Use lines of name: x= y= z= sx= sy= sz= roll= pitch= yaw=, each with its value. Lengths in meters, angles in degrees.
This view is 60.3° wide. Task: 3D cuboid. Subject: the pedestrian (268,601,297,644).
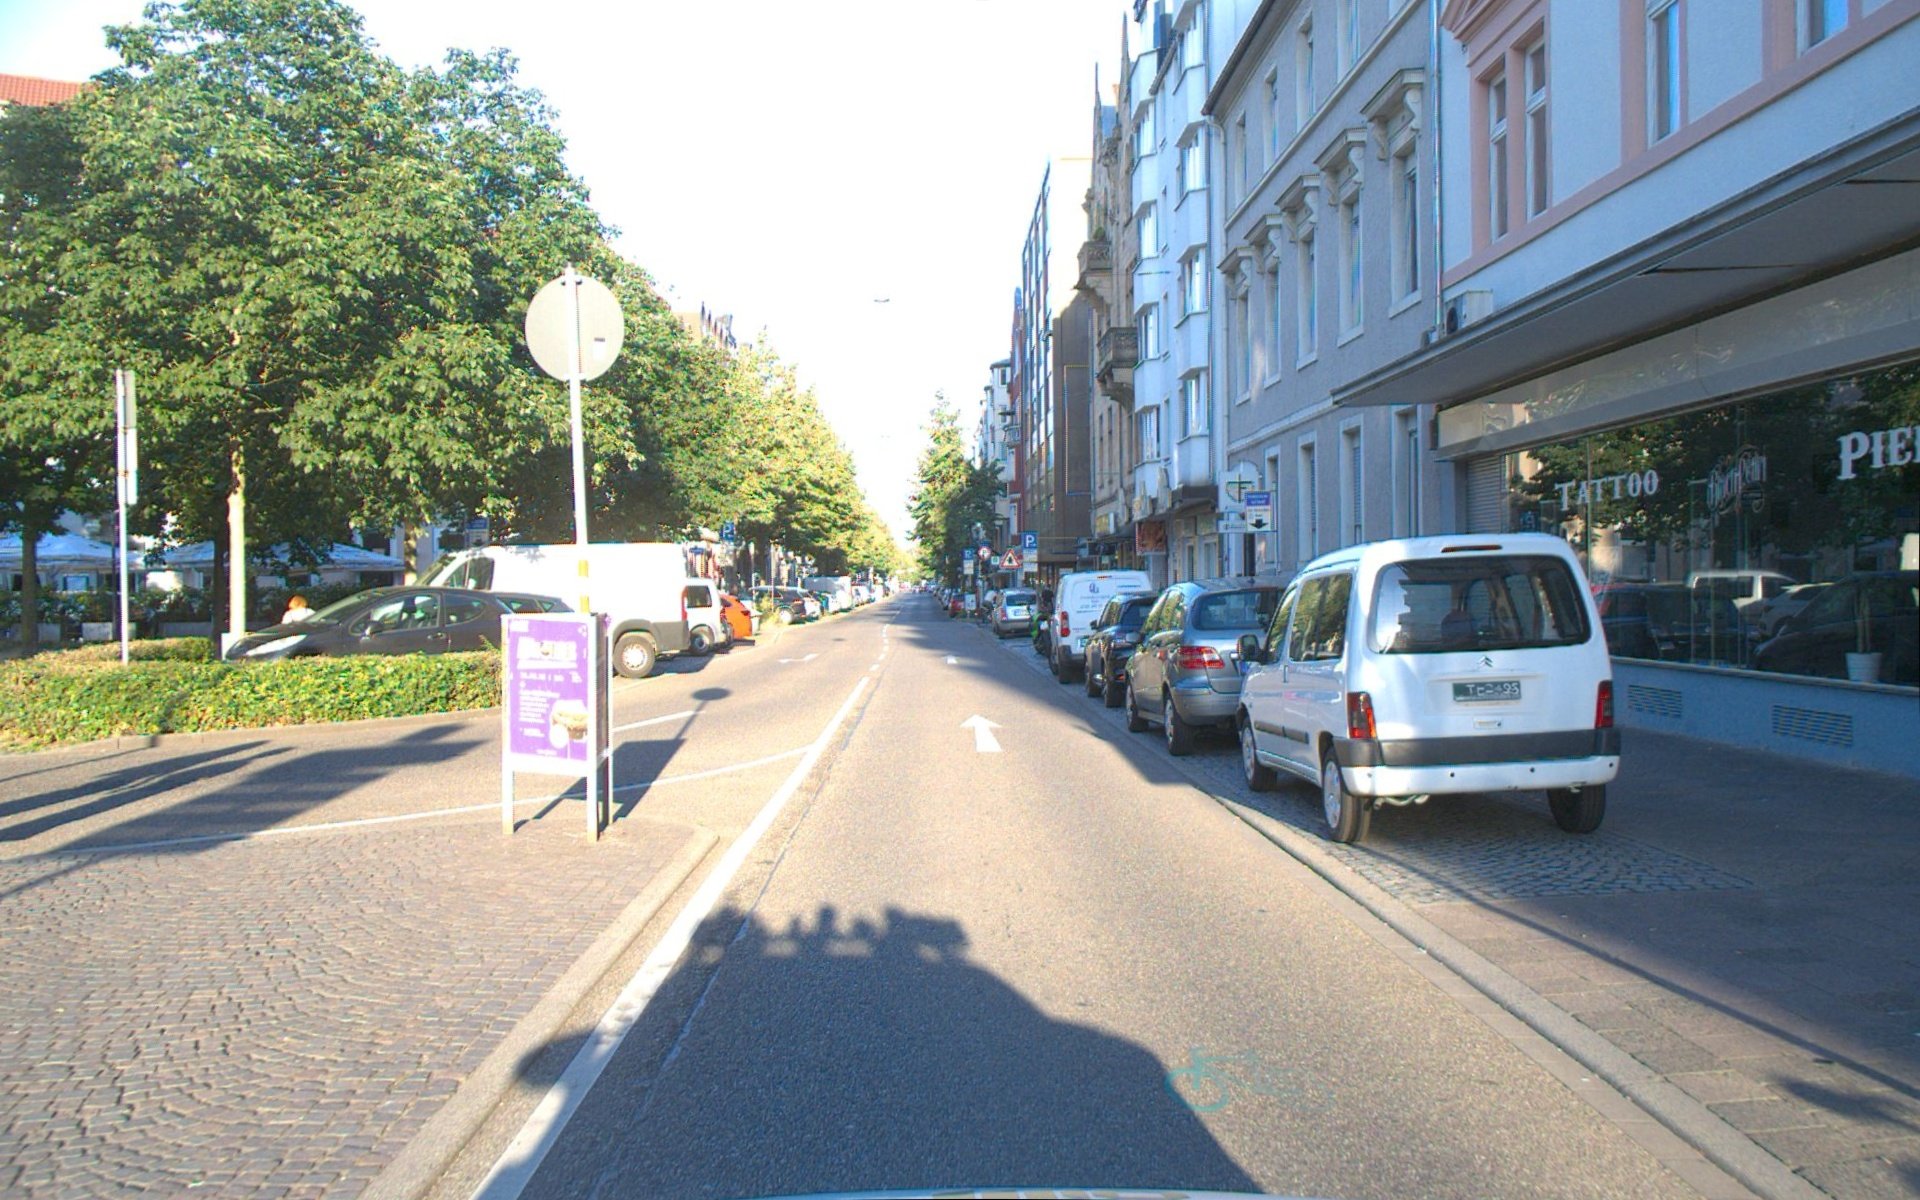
pedestrian: x=-19.328 y=0.642 z=47.199 sx=0.567 sy=1.192 sz=0.535 roll=1 pitch=0 yaw=6

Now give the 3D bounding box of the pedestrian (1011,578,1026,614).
pedestrian: x=3.119 y=-0.215 z=87.839 sx=0.700 sy=1.898 sz=0.679 roll=-1 pitch=1 yaw=-4

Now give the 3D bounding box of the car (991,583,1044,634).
car: x=1.912 y=0.256 z=55.657 sx=1.646 sy=1.588 sz=4.001 roll=-2 pitch=1 yaw=1

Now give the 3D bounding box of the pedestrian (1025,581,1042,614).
pedestrian: x=3.900 y=-0.158 z=87.883 sx=0.750 sy=1.718 sz=0.785 roll=-1 pitch=1 yaw=-4

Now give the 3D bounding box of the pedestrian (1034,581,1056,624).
pedestrian: x=3.337 y=0.074 z=65.024 sx=0.740 sy=1.669 sz=1.258 roll=0 pitch=1 yaw=-2

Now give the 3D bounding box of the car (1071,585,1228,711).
car: x=2.563 y=0.601 z=23.169 sx=1.633 sy=1.571 sz=3.882 roll=0 pitch=1 yaw=-2

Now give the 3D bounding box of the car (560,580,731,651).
car: x=-7.995 y=0.395 z=42.162 sx=3.958 sy=1.725 sz=1.726 roll=1 pitch=0 yaw=-38

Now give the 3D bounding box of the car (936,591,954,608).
car: x=-1.160 y=-0.053 z=128.041 sx=1.182 sy=1.323 sz=2.659 roll=1 pitch=0 yaw=-4

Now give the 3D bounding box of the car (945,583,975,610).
car: x=-0.027 y=-0.185 z=102.431 sx=1.545 sy=1.569 sz=3.394 roll=-2 pitch=0 yaw=-4

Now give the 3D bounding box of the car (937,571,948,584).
car: x=-2.175 y=-2.809 z=205.103 sx=1.283 sy=1.628 sz=2.658 roll=0 pitch=0 yaw=-4

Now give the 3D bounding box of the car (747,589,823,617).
car: x=-9.867 y=0.161 z=93.460 sx=4.091 sy=1.533 sz=1.999 roll=1 pitch=0 yaw=-2

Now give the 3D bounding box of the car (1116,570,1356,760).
car: x=2.679 y=0.562 z=16.914 sx=1.623 sy=1.694 sz=4.106 roll=0 pitch=1 yaw=-2

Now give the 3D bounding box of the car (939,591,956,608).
car: x=-1.024 y=-0.026 z=134.500 sx=1.182 sy=1.323 sz=2.658 roll=0 pitch=0 yaw=-4

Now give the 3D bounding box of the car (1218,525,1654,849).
car: x=3.027 y=0.479 z=11.445 sx=1.756 sy=1.823 sz=4.091 roll=-1 pitch=0 yaw=-1

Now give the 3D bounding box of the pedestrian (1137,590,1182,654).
pedestrian: x=4.833 y=0.525 z=40.183 sx=0.936 sy=1.513 sz=0.992 roll=1 pitch=0 yaw=-2

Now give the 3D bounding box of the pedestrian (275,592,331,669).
pedestrian: x=-11.403 y=0.521 z=28.703 sx=0.741 sy=1.299 sz=0.652 roll=0 pitch=1 yaw=-39

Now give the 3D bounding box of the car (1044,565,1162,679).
car: x=2.463 y=0.331 z=29.394 sx=1.675 sy=1.867 sz=4.306 roll=0 pitch=1 yaw=-1

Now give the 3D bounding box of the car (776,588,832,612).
car: x=-10.660 y=-0.008 z=113.343 sx=3.664 sy=1.624 sz=1.999 roll=1 pitch=0 yaw=-2

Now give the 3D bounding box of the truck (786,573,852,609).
truck: x=-10.607 y=-0.668 z=124.874 sx=4.841 sy=2.661 sz=1.999 roll=1 pitch=0 yaw=-2

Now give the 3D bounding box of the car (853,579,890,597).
car: x=-8.819 y=-1.242 z=164.688 sx=3.664 sy=1.738 sz=1.999 roll=0 pitch=1 yaw=-2

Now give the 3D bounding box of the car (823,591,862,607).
car: x=-11.181 y=-0.091 z=157.832 sx=3.664 sy=1.519 sz=1.999 roll=1 pitch=0 yaw=-2

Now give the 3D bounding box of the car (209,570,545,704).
car: x=-7.613 y=0.448 z=21.723 sx=3.842 sy=1.610 sz=1.779 roll=0 pitch=0 yaw=-37

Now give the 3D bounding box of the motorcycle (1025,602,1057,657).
motorcycle: x=1.890 y=0.682 z=38.799 sx=0.576 sy=1.221 sz=2.210 roll=0 pitch=1 yaw=-2

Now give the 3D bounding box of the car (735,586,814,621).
car: x=-9.565 y=0.180 z=85.556 sx=3.909 sy=1.738 sz=1.832 roll=0 pitch=1 yaw=-2

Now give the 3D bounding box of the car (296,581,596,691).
car: x=-7.691 y=0.485 z=24.940 sx=3.964 sy=1.512 sz=1.806 roll=0 pitch=1 yaw=-41

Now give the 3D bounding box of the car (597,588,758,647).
car: x=-7.774 y=0.455 z=45.586 sx=3.946 sy=1.511 sz=1.979 roll=-1 pitch=1 yaw=-31

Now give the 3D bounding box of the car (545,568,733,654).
car: x=-7.523 y=0.232 z=38.881 sx=3.958 sy=1.911 sz=1.846 roll=0 pitch=1 yaw=-38

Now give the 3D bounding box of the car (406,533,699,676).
car: x=-7.050 y=0.071 z=28.642 sx=4.547 sy=2.290 sz=2.183 roll=0 pitch=0 yaw=-29

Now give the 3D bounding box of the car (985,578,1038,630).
car: x=1.869 y=0.111 z=60.573 sx=1.662 sy=1.800 sz=3.999 roll=-1 pitch=1 yaw=-2

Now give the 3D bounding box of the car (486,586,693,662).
car: x=-7.887 y=0.493 z=35.373 sx=3.962 sy=1.518 sz=1.823 roll=0 pitch=0 yaw=-40

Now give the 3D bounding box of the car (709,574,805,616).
car: x=-9.624 y=-0.259 z=78.550 sx=4.359 sy=1.866 sz=2.034 roll=0 pitch=3 yaw=-2
